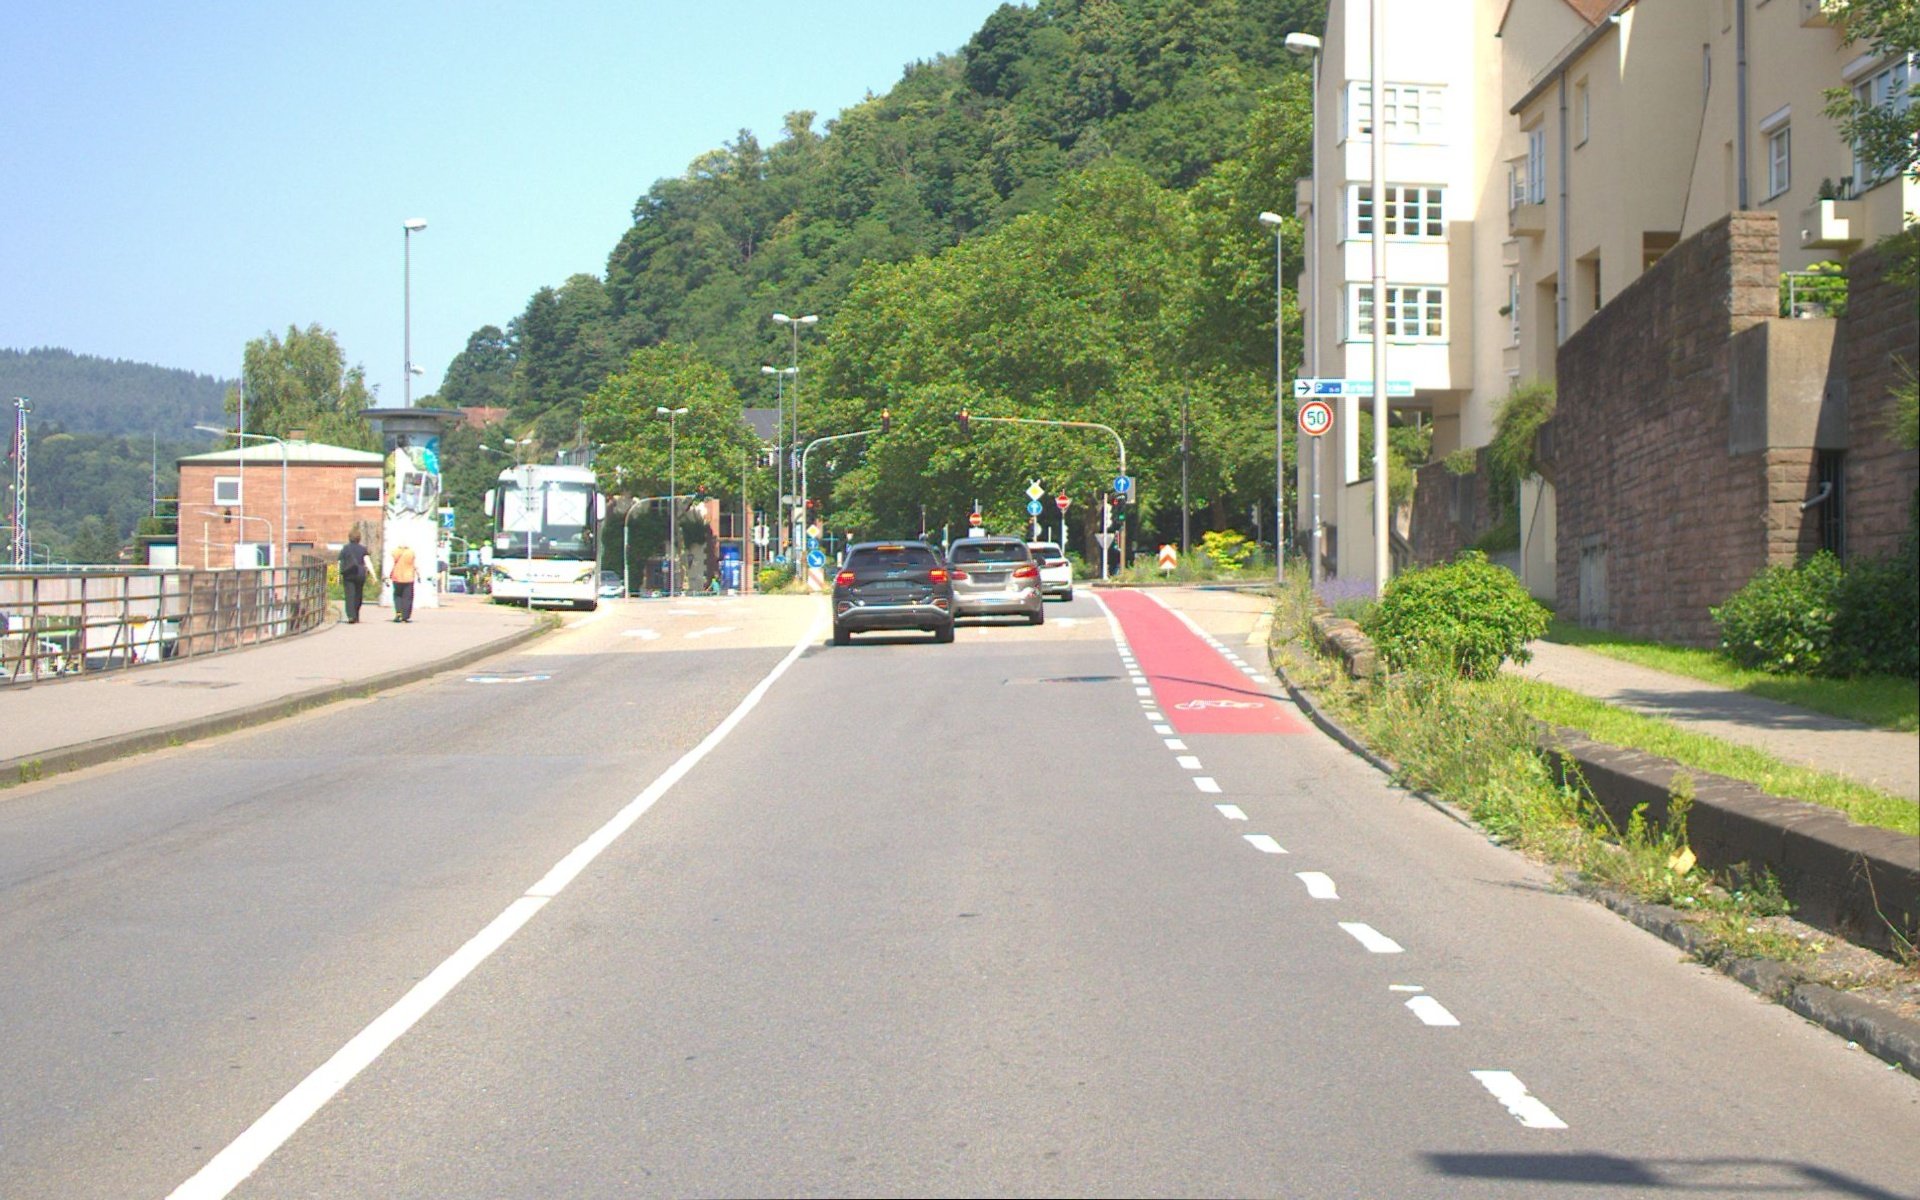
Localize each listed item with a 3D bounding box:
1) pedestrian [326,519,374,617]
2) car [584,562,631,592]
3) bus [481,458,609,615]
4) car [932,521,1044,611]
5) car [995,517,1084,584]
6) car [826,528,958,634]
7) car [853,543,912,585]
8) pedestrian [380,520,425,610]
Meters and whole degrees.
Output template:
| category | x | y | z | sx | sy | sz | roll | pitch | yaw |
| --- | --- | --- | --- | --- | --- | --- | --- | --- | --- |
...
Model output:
| category | x | y | z | sx | sy | sz | roll | pitch | yaw |
| --- | --- | --- | --- | --- | --- | --- | --- | --- | --- |
| pedestrian | -10.696 | -0.565 | 60.308 | 0.683 | 1.703 | 0.773 | -1 | 0 | 0 |
| car | -18.041 | -1.171 | 175.768 | 1.993 | 1.427 | 4.168 | -2 | 1 | -10 |
| bus | -10.729 | -1.593 | 89.908 | 2.956 | 3.788 | 13.246 | -1 | 0 | -5 |
| car | 0.467 | -0.595 | 60.287 | 1.888 | 1.516 | 4.306 | 0 | 0 | 0 |
| car | 1.863 | -1.162 | 82.080 | 1.993 | 1.528 | 4.859 | 0 | 0 | 0 |
| car | -0.984 | -0.285 | 51.316 | 1.869 | 1.508 | 4.151 | 0 | 0 | 0 |
| car | -2.617 | -1.217 | 115.376 | 1.866 | 1.354 | 4.001 | -1 | 1 | -3 |
| pedestrian | -10.082 | -0.627 | 62.225 | 0.702 | 1.615 | 0.817 | -1 | 0 | -2 |
